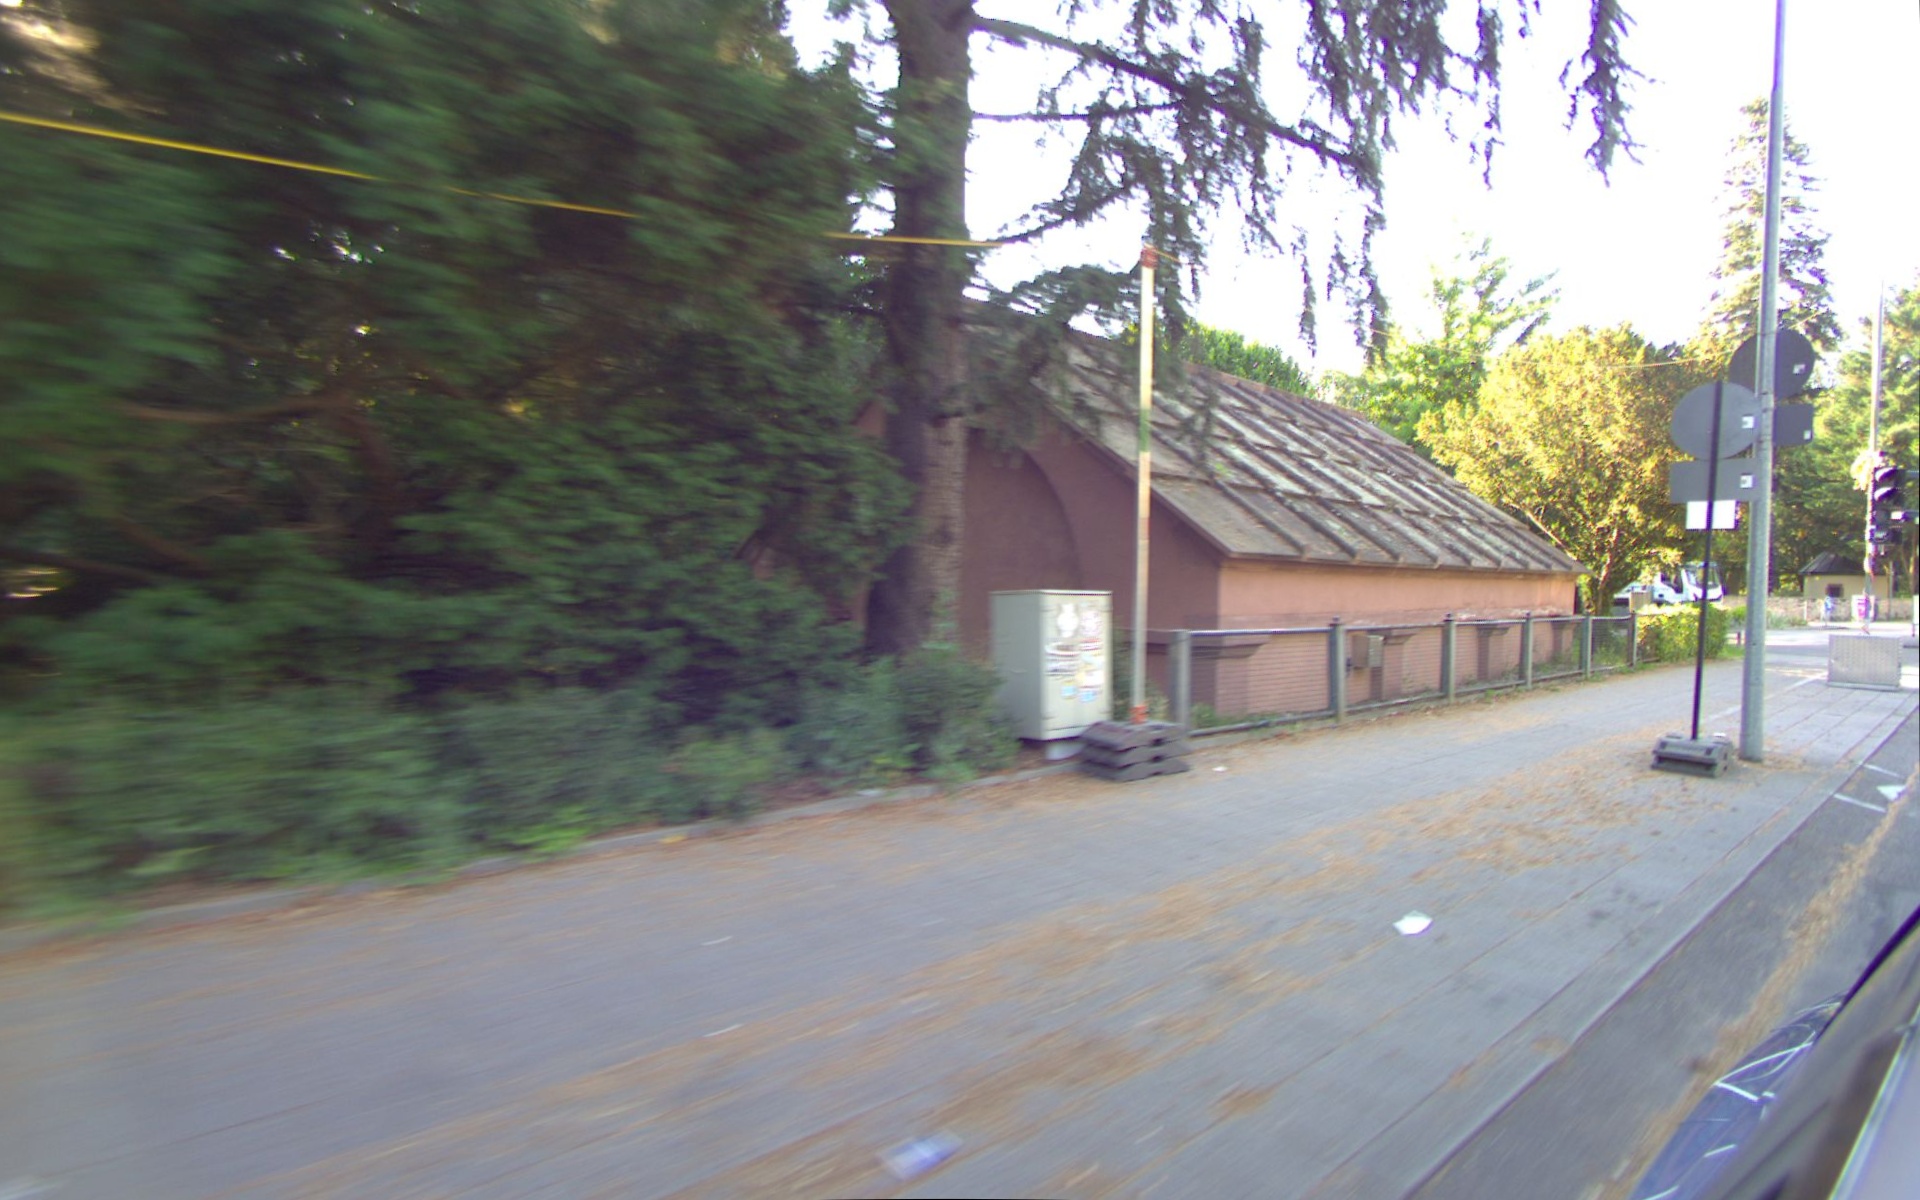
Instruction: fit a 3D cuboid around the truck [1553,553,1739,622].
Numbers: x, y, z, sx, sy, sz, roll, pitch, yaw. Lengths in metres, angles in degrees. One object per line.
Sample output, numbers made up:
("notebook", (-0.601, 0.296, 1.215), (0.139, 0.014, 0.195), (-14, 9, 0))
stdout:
("truck", (29.680, -0.525, 44.120), (2.321, 2.786, 6.524), (0, 0, -21))
